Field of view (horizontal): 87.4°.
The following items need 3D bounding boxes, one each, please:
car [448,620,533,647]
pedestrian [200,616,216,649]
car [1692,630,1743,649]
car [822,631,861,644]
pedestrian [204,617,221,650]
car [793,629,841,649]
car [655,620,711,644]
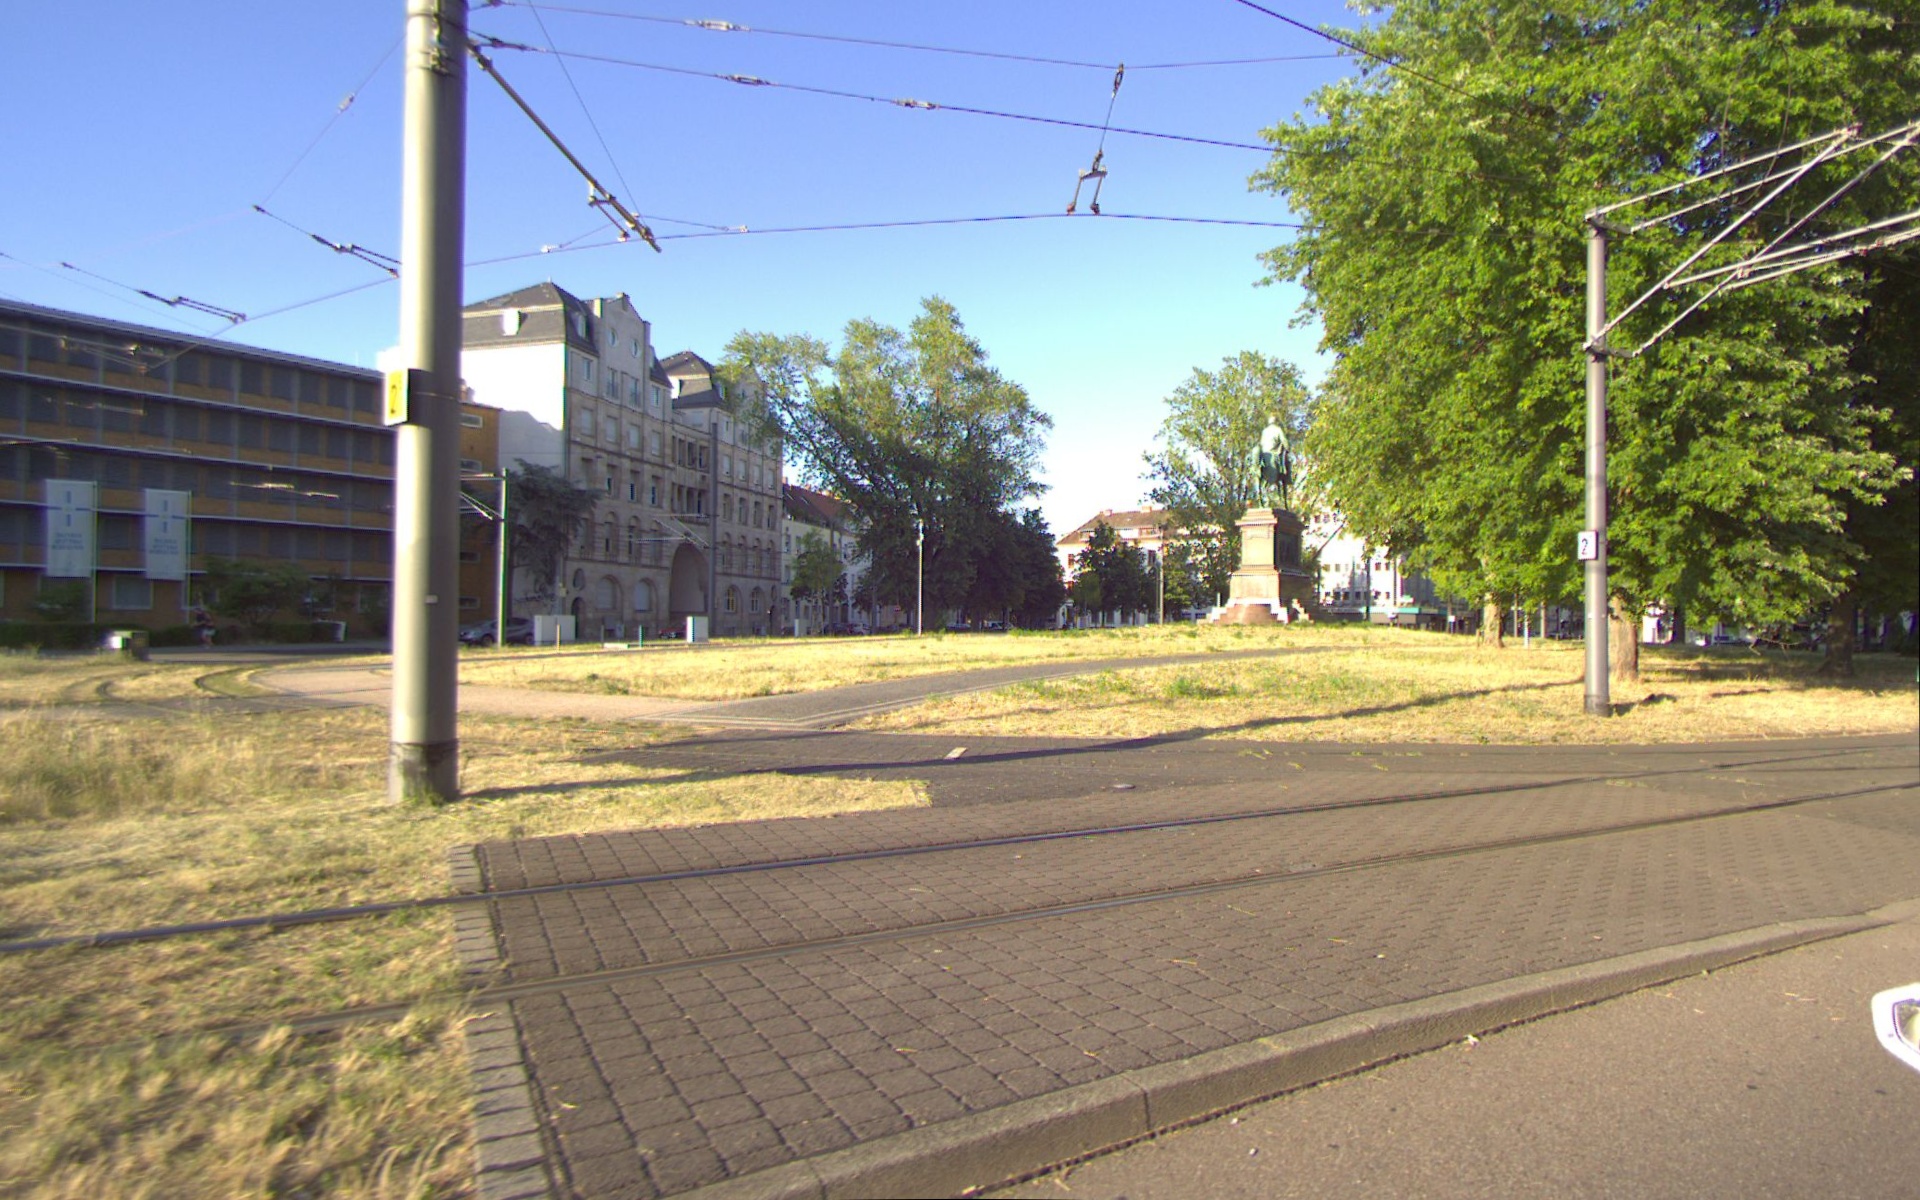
[{"bbox_3d":[-23.629,1.678,50.658,1.541,1.275,3.724,0,-1,27],"label":"car"},{"bbox_3d":[-33.628,1.456,44.904,0.408,1.449,0.483,0,-1,38],"label":"pedestrian"},{"bbox_3d":[66.446,3.439,88.127,3.570,1.572,1.655,0,-1,40],"label":"car"},{"bbox_3d":[-12.358,3.917,104.931,3.729,1.238,1.712,-1,-1,13],"label":"car"},{"bbox_3d":[-33.115,1.466,44.497,0.408,1.449,0.483,0,-1,38],"label":"pedestrian"},{"bbox_3d":[-10.734,2.917,75.539,1.532,1.372,3.503,1,0,41],"label":"car"},{"bbox_3d":[-17.676,2.023,64.260,1.525,1.372,3.518,1,0,24],"label":"car"}]
